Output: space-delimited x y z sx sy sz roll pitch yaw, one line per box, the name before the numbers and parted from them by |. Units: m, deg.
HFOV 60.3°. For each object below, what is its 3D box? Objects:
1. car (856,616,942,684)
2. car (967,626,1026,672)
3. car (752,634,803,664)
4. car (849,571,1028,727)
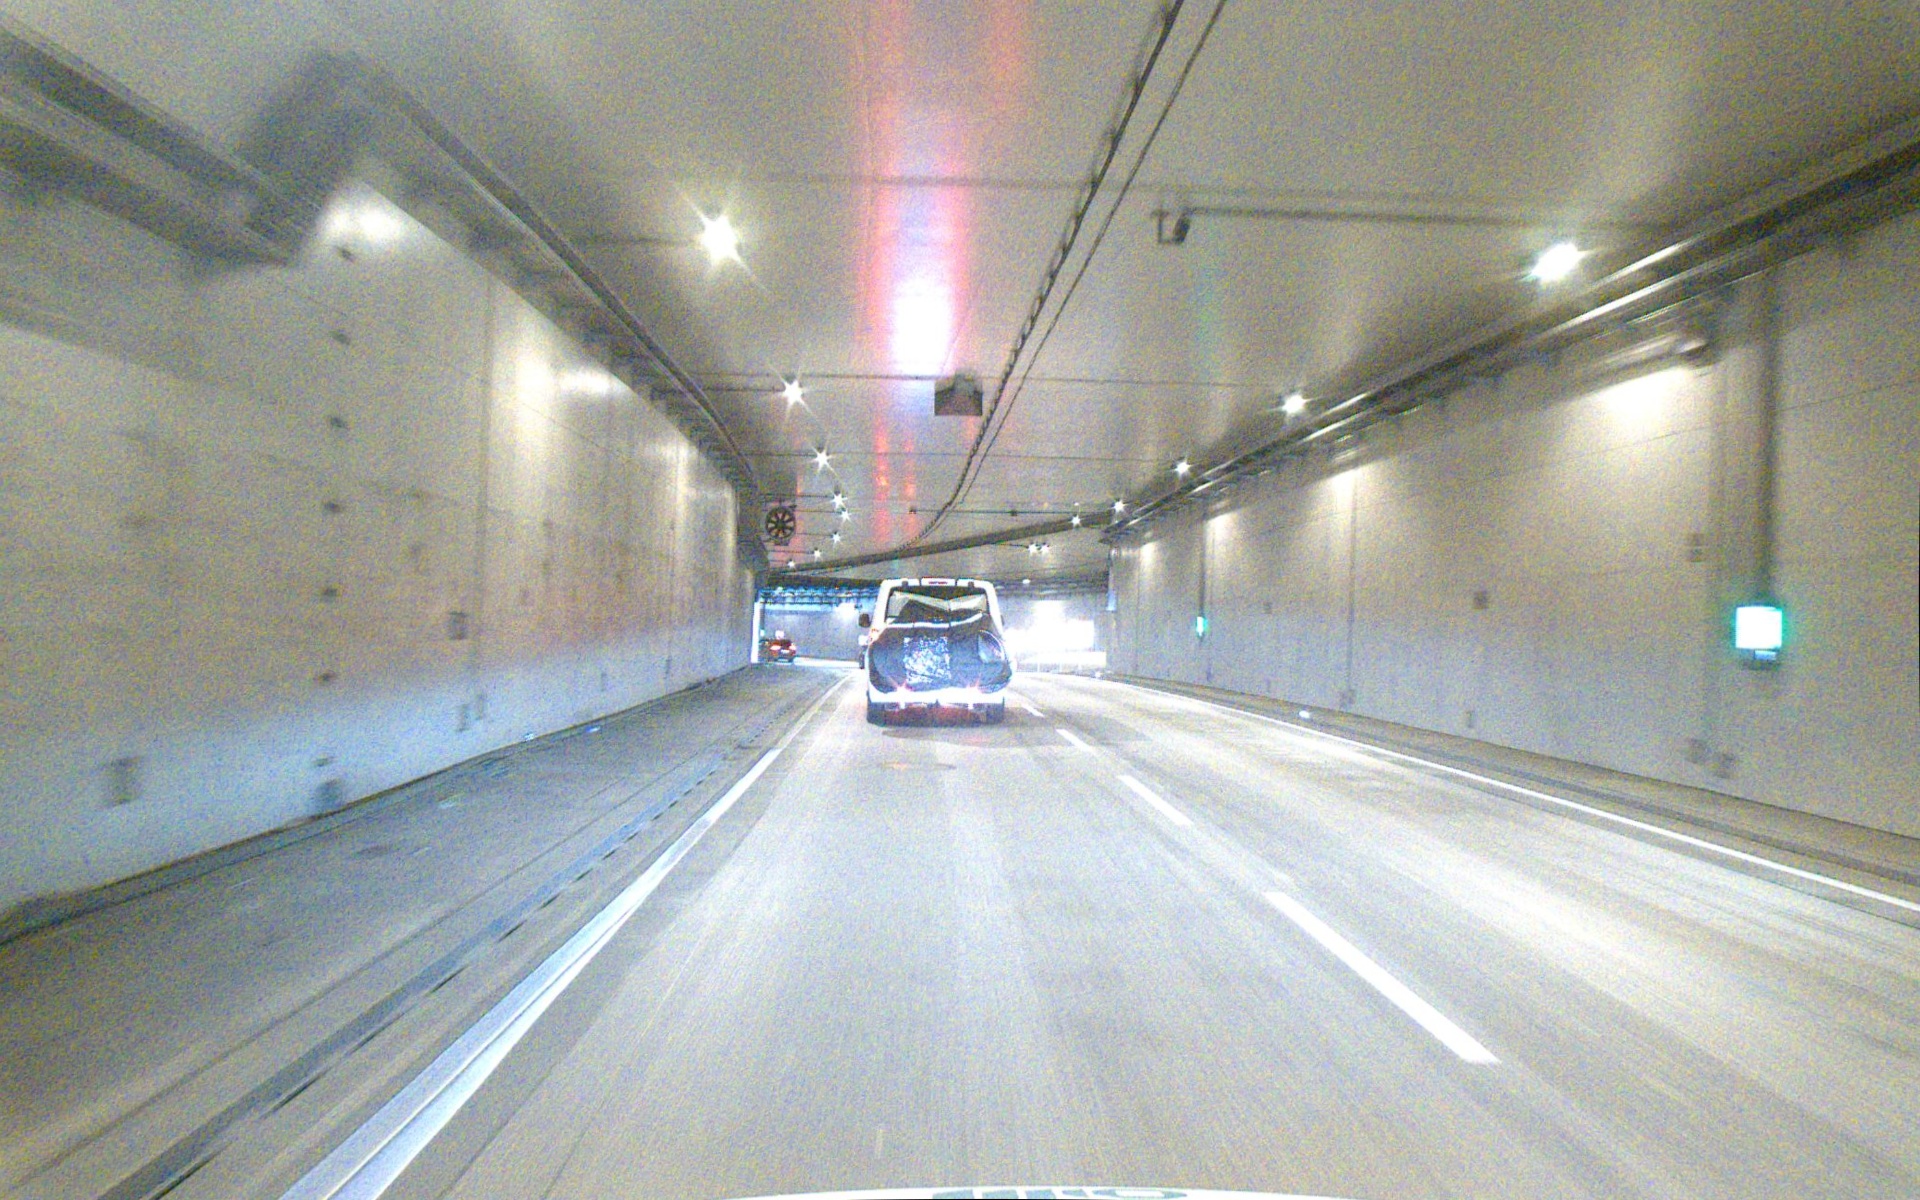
car | -1.396 1.097 36.958 1.573 1.420 3.271 1 -1 -8
car | 1.334 1.807 61.837 1.574 1.659 3.347 0 -1 -10
car | -11.250 2.988 101.946 1.801 1.659 3.809 4 -2 -27
car | -0.428 0.617 22.736 1.955 1.880 5.293 0 0 -6
